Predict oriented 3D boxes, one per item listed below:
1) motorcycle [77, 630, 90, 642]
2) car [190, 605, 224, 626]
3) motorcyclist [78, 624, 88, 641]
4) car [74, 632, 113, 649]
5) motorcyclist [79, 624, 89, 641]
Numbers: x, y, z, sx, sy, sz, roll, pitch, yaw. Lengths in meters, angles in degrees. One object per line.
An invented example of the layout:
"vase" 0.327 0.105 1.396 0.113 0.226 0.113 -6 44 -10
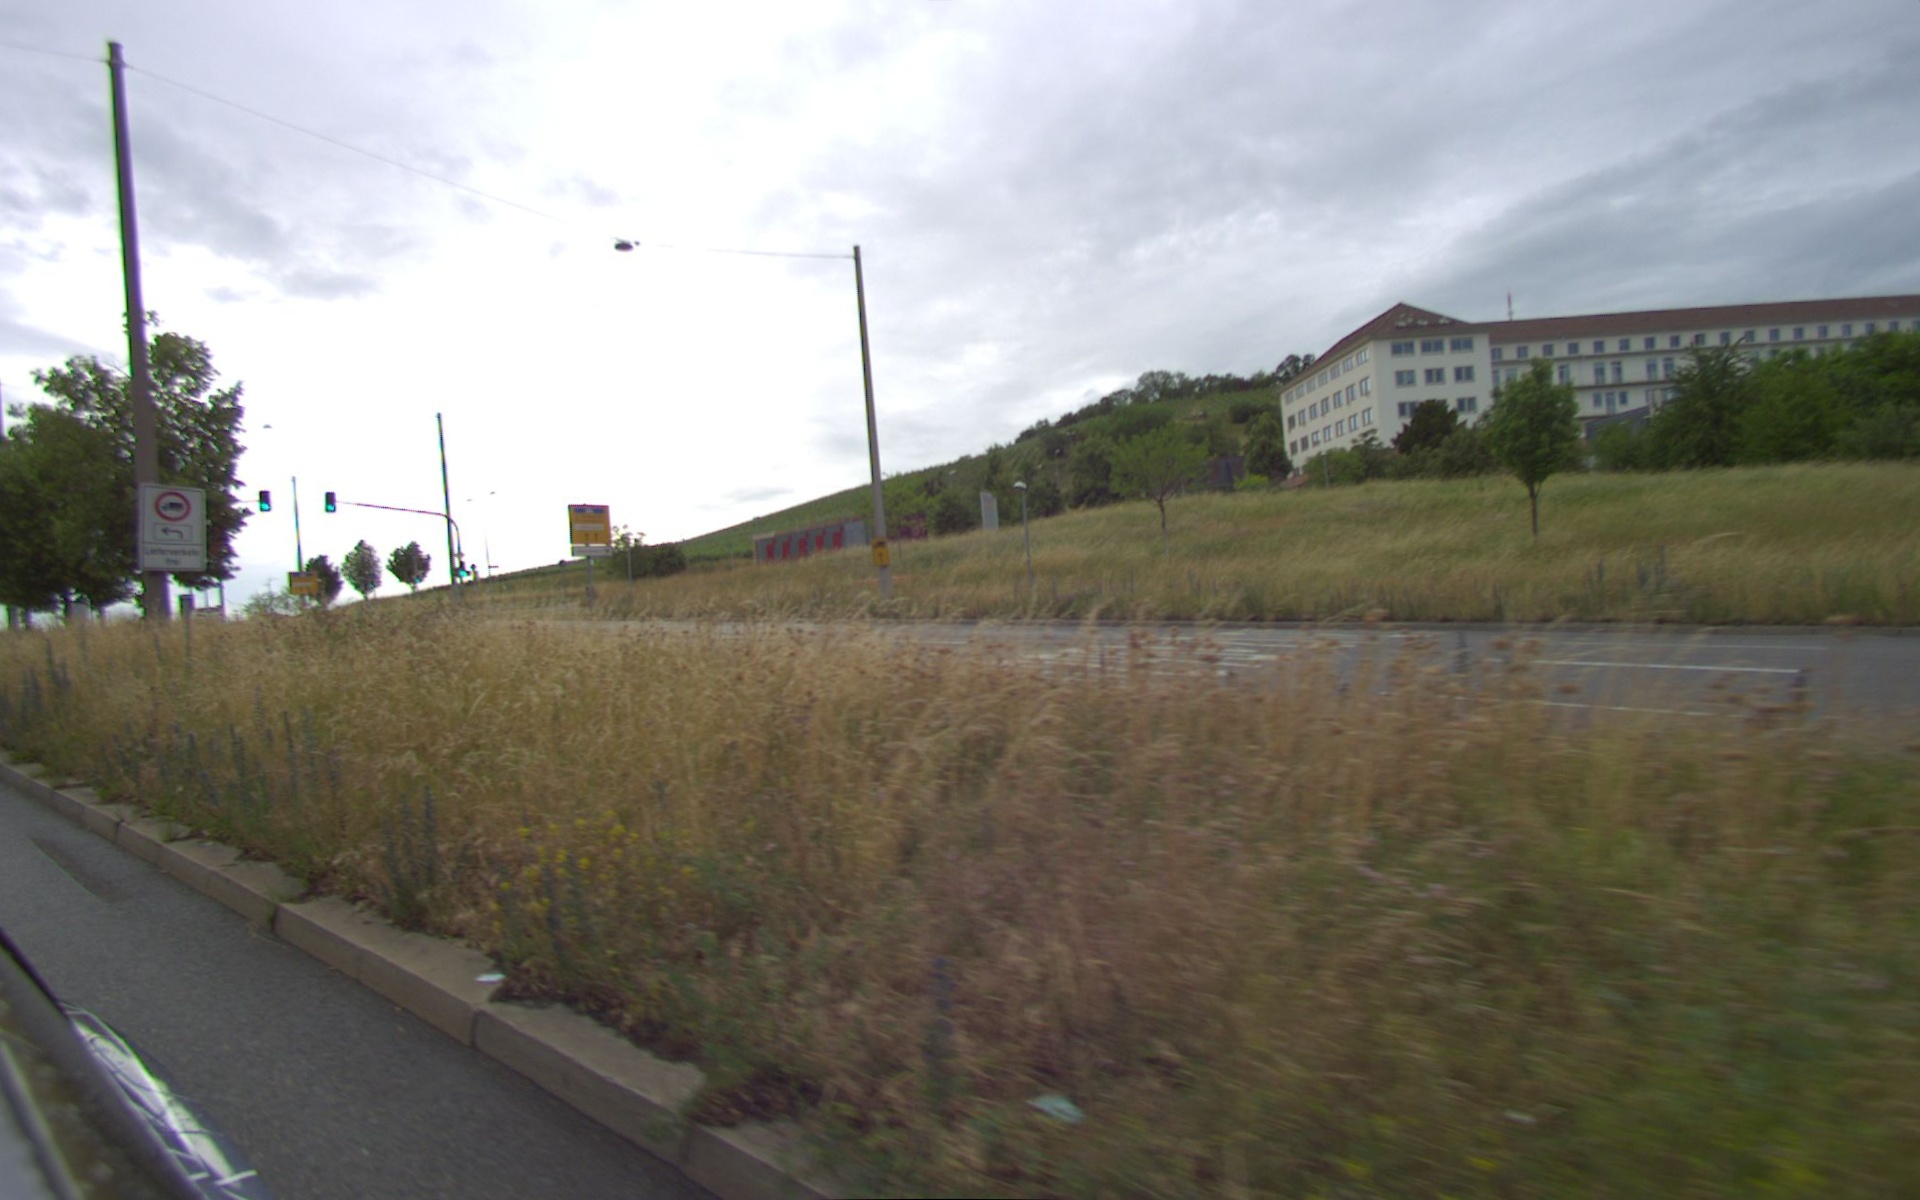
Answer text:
"motorcycle" -84.678 3.498 97.757 2.501 1.058 0.610 -4 0 42
"car" -54.064 1.107 72.625 1.520 1.399 3.932 -3 1 -42
"motorcyclist" -84.774 3.161 97.833 0.643 1.608 0.576 -4 -1 42
"car" -91.289 4.250 106.685 1.517 1.515 3.672 -2 1 -13
"motorcyclist" -84.284 3.140 97.398 0.582 1.593 0.606 -3 0 42
